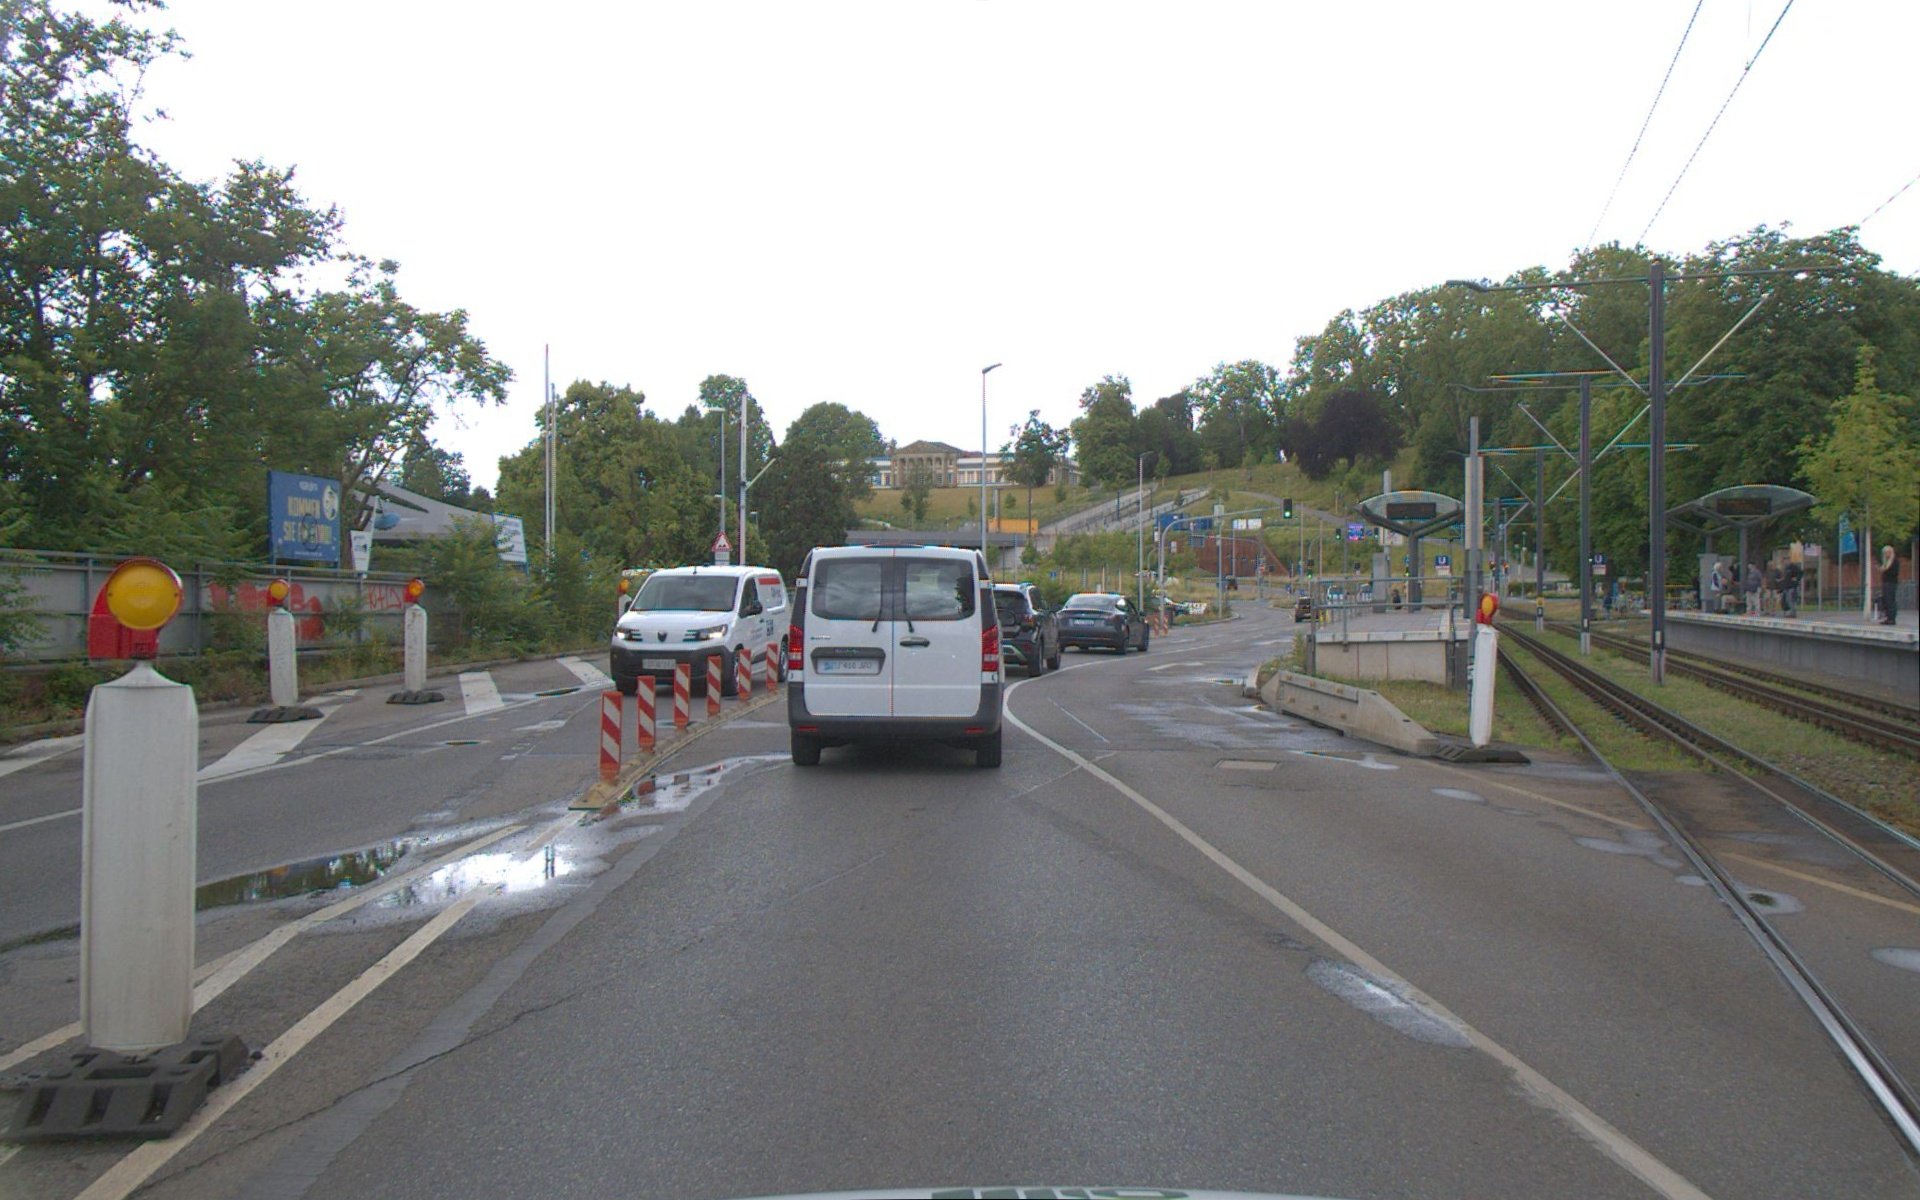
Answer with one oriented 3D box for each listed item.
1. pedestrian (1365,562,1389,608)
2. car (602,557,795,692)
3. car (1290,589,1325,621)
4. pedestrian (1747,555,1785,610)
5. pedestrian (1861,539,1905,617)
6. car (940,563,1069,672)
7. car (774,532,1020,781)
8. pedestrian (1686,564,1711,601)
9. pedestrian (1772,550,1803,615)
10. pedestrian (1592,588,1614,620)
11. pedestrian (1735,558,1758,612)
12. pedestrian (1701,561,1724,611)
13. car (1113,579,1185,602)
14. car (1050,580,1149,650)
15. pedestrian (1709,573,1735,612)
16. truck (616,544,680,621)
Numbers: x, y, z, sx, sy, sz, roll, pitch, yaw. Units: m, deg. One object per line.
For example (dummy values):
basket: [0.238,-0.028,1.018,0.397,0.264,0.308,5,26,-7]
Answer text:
pedestrian: [14.866,-0.542,58.956,0.734,1.580,0.775,2,2,18]
car: [-3.741,0.272,24.535,1.824,1.813,4.751,0,1,4]
car: [20.896,0.299,99.435,1.951,1.802,4.003,2,1,12]
pedestrian: [25.603,-0.563,52.540,0.842,1.706,0.762,2,0,7]
pedestrian: [20.821,-0.487,37.318,0.619,1.716,0.866,2,0,16]
car: [0.864,0.283,29.533,1.799,1.759,4.066,2,1,8]
car: [-0.458,0.432,15.475,1.919,1.937,4.462,2,1,1]
pedestrian: [27.756,-0.660,62.148,0.659,1.346,0.968,2,0,15]
pedestrian: [24.301,-0.523,48.561,0.619,1.870,0.950,2,0,18]
pedestrian: [33.175,0.187,85.344,0.816,1.637,0.777,-1,0,-6]
pedestrian: [24.520,-0.464,51.588,0.513,1.648,0.676,2,0,18]
pedestrian: [25.850,-0.477,56.811,0.532,1.706,0.676,2,0,13]
car: [13.210,-0.629,115.518,4.617,1.503,1.998,-1,1,27]
car: [3.527,0.348,41.164,1.799,1.610,4.065,2,1,14]
pedestrian: [24.531,-0.233,53.239,0.644,1.212,0.676,2,0,18]
truck: [-14.837,-0.825,78.619,2.742,3.394,8.456,-2,1,-11]
